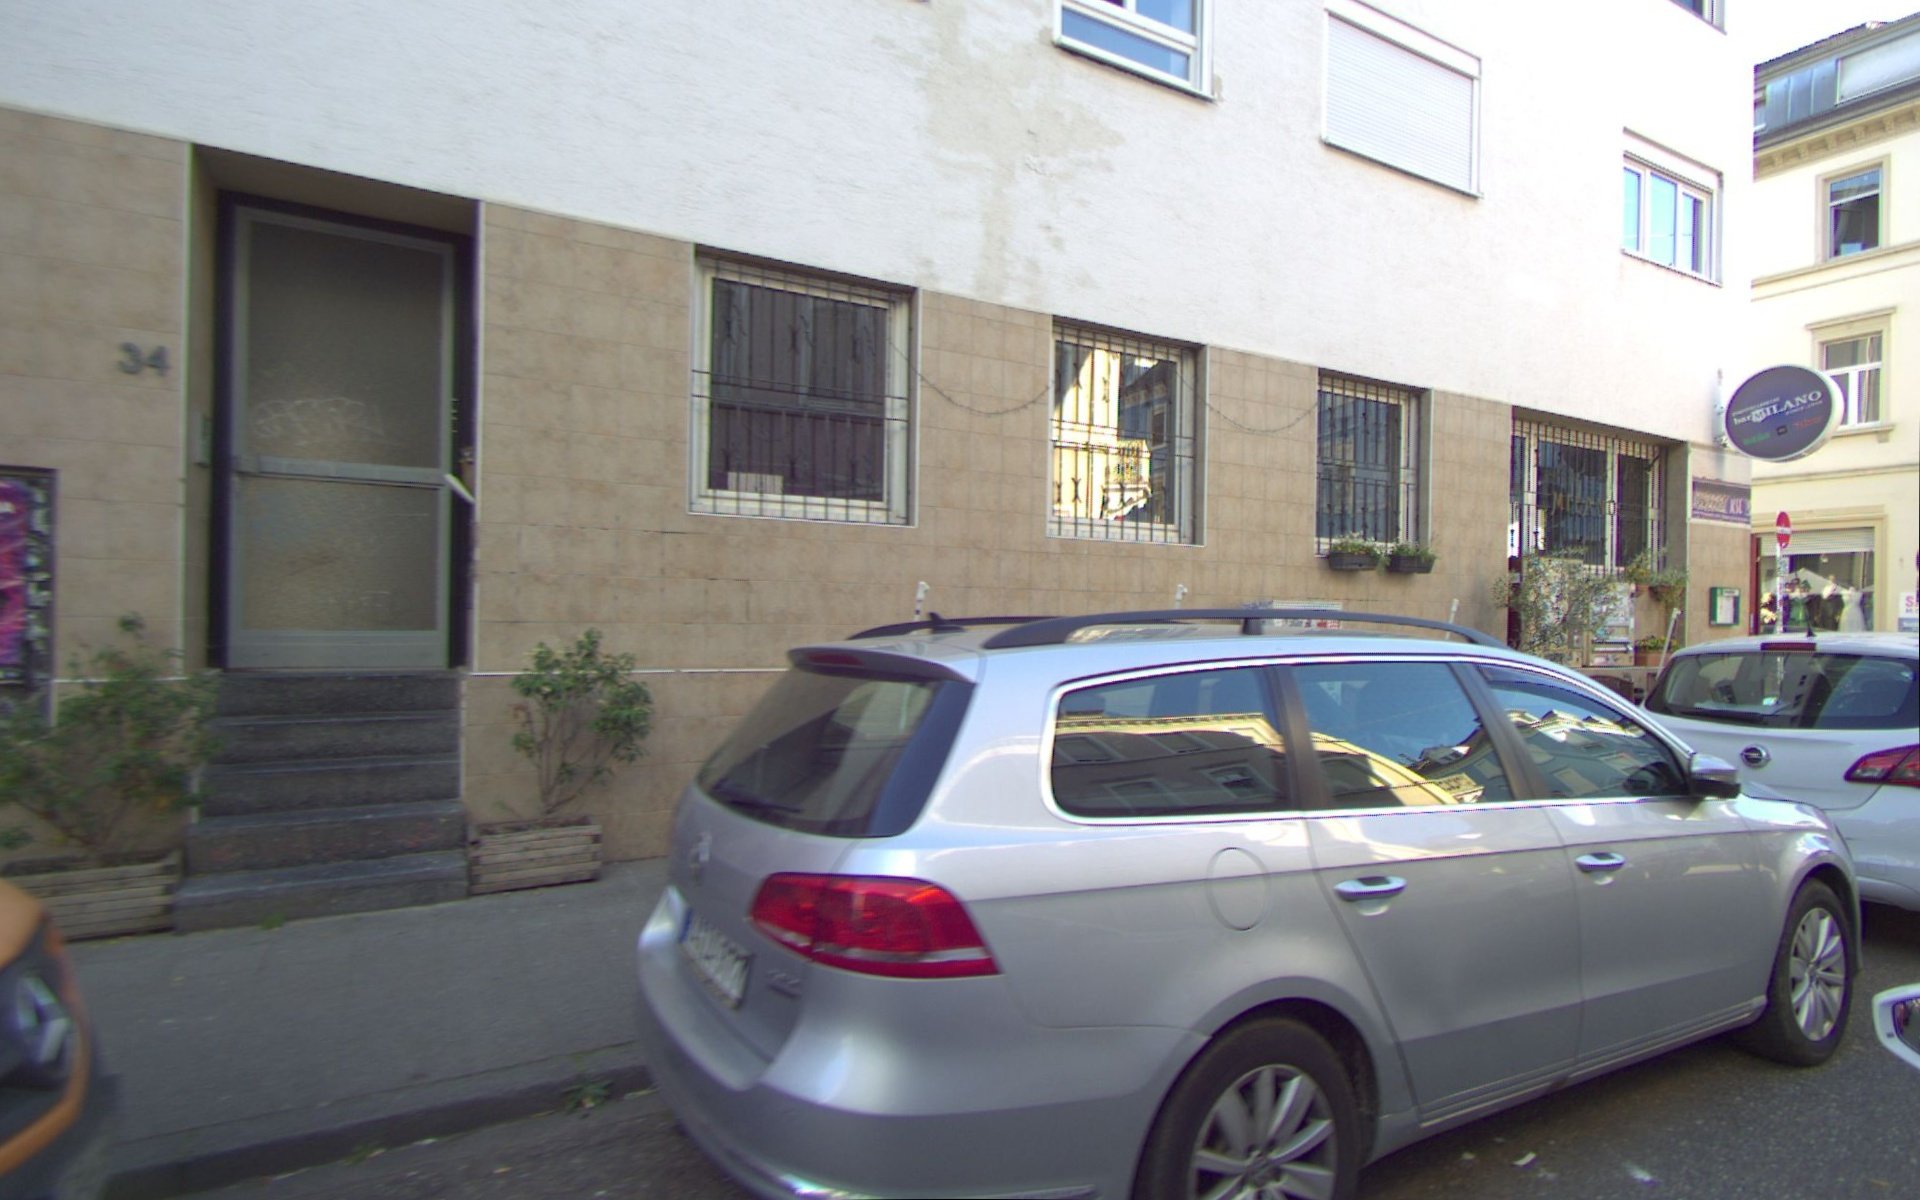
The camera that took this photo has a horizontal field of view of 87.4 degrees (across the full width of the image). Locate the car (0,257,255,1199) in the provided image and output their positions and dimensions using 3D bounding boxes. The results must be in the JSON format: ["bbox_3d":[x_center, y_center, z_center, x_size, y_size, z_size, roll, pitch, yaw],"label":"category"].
[{"bbox_3d":[-3.237,0.535,0.777,4.194,1.869,1.794,2,-2,-30],"label":"car"}]

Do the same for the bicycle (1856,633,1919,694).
[{"bbox_3d":[19.279,1.291,20.101,0.604,1.164,1.917,2,0,-23],"label":"bicycle"}]

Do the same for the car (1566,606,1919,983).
[{"bbox_3d":[5.351,0.884,5.710,3.773,1.575,1.669,2,-2,-30],"label":"car"}]

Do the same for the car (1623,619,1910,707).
[{"bbox_3d":[15.825,1.158,19.946,1.739,1.475,4.118,1,0,-31],"label":"car"}]

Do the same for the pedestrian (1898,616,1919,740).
[{"bbox_3d":[14.045,1.119,14.294,0.854,1.725,0.690,-1,5,-29],"label":"pedestrian"}]

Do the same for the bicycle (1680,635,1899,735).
[{"bbox_3d":[12.799,1.258,15.611,0.917,1.377,2.465,1,-1,-28],"label":"bicycle"}]

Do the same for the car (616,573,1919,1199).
[{"bbox_3d":[1.323,0.802,3.405,4.477,1.516,1.666,2,-3,-30],"label":"car"}]
